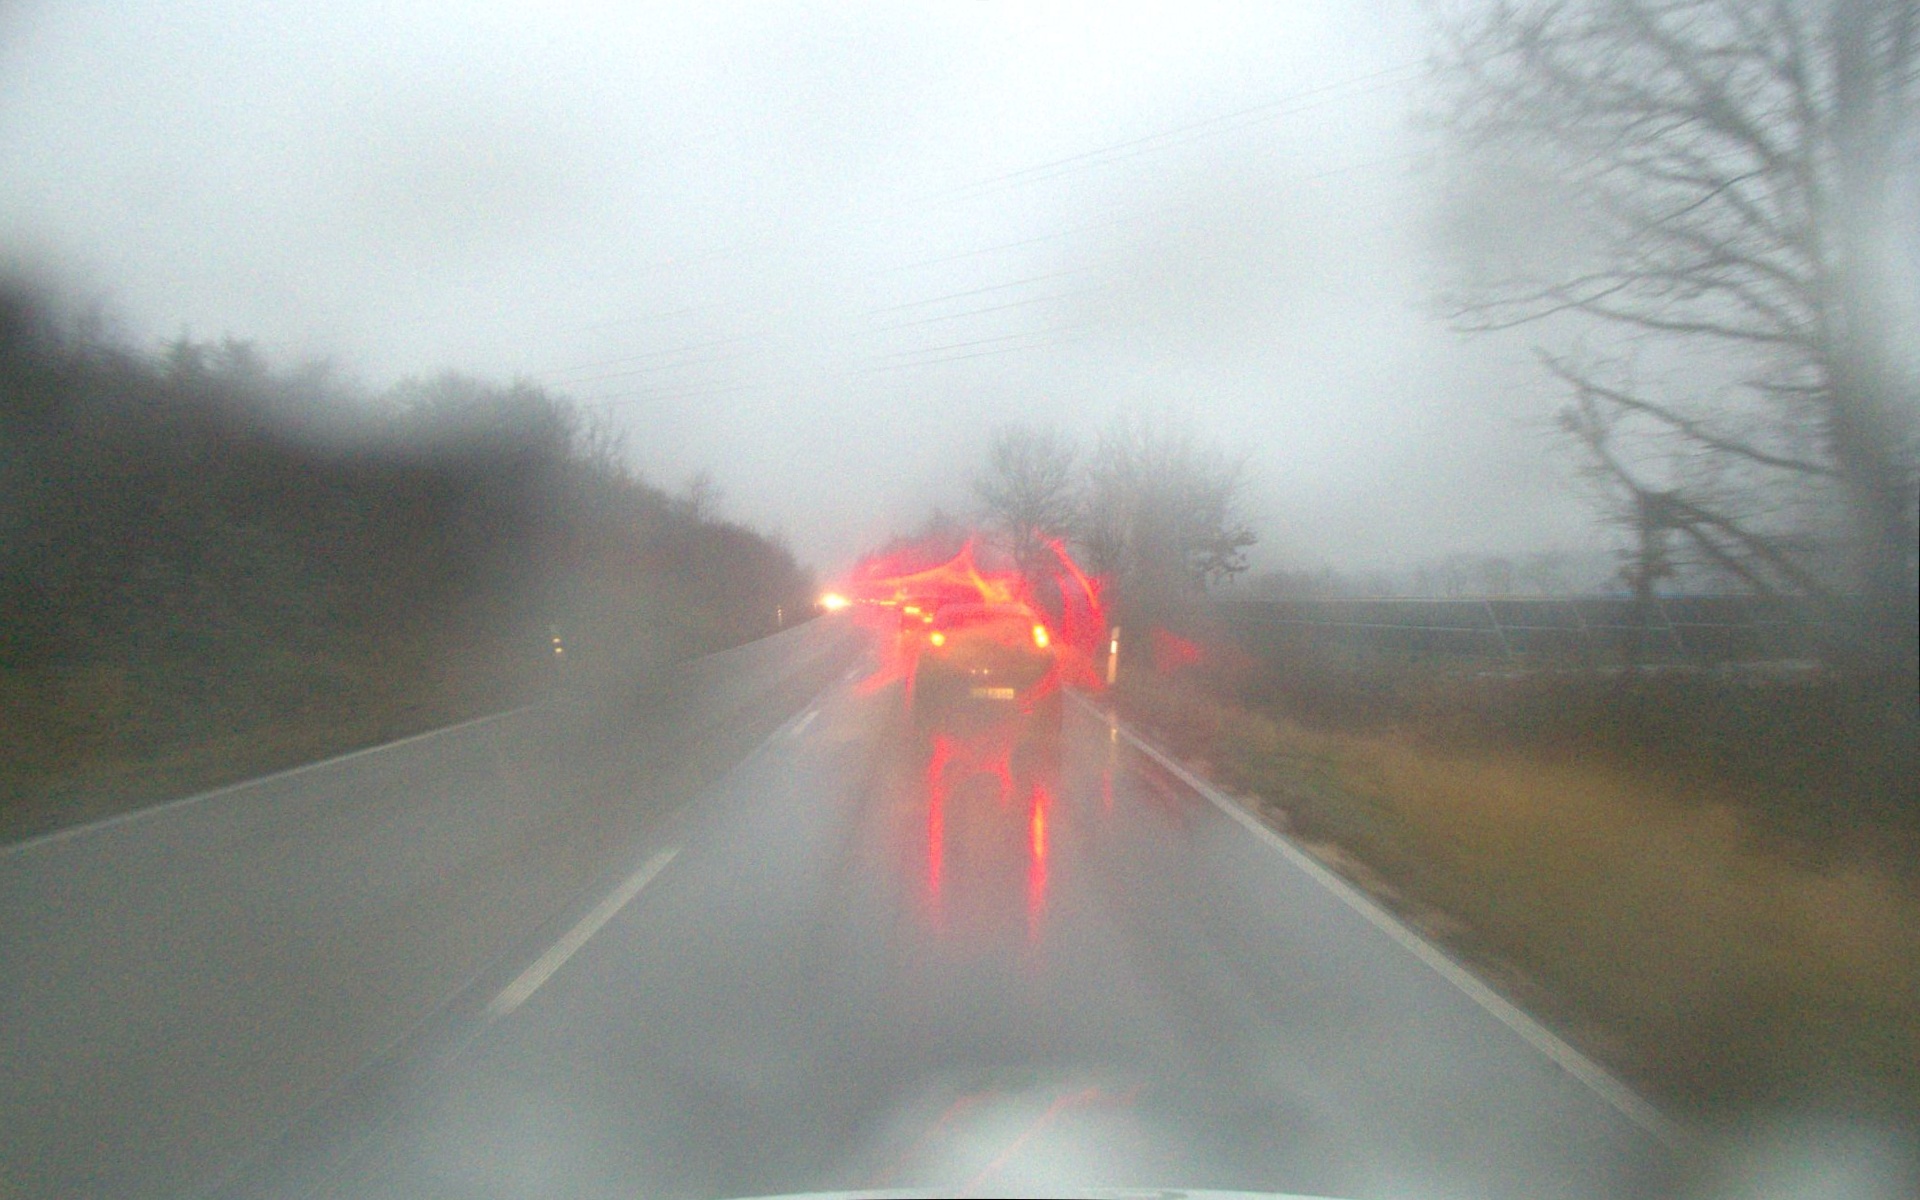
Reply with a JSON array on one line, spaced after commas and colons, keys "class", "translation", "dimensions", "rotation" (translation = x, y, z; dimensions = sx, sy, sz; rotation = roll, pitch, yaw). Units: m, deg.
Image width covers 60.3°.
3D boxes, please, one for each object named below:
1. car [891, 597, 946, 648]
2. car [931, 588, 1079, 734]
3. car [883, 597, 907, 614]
[{"class": "car", "translation": [-1.178, 0.629, 48.118], "dimensions": [1.515, 1.421, 3.869], "rotation": [1, 0, -1]}, {"class": "car", "translation": [0.491, 0.653, 19.672], "dimensions": [1.569, 1.549, 3.869], "rotation": [1, 0, 0]}, {"class": "car", "translation": [-5.590, 0.486, 142.764], "dimensions": [1.514, 1.421, 3.872], "rotation": [1, 0, 5]}]
